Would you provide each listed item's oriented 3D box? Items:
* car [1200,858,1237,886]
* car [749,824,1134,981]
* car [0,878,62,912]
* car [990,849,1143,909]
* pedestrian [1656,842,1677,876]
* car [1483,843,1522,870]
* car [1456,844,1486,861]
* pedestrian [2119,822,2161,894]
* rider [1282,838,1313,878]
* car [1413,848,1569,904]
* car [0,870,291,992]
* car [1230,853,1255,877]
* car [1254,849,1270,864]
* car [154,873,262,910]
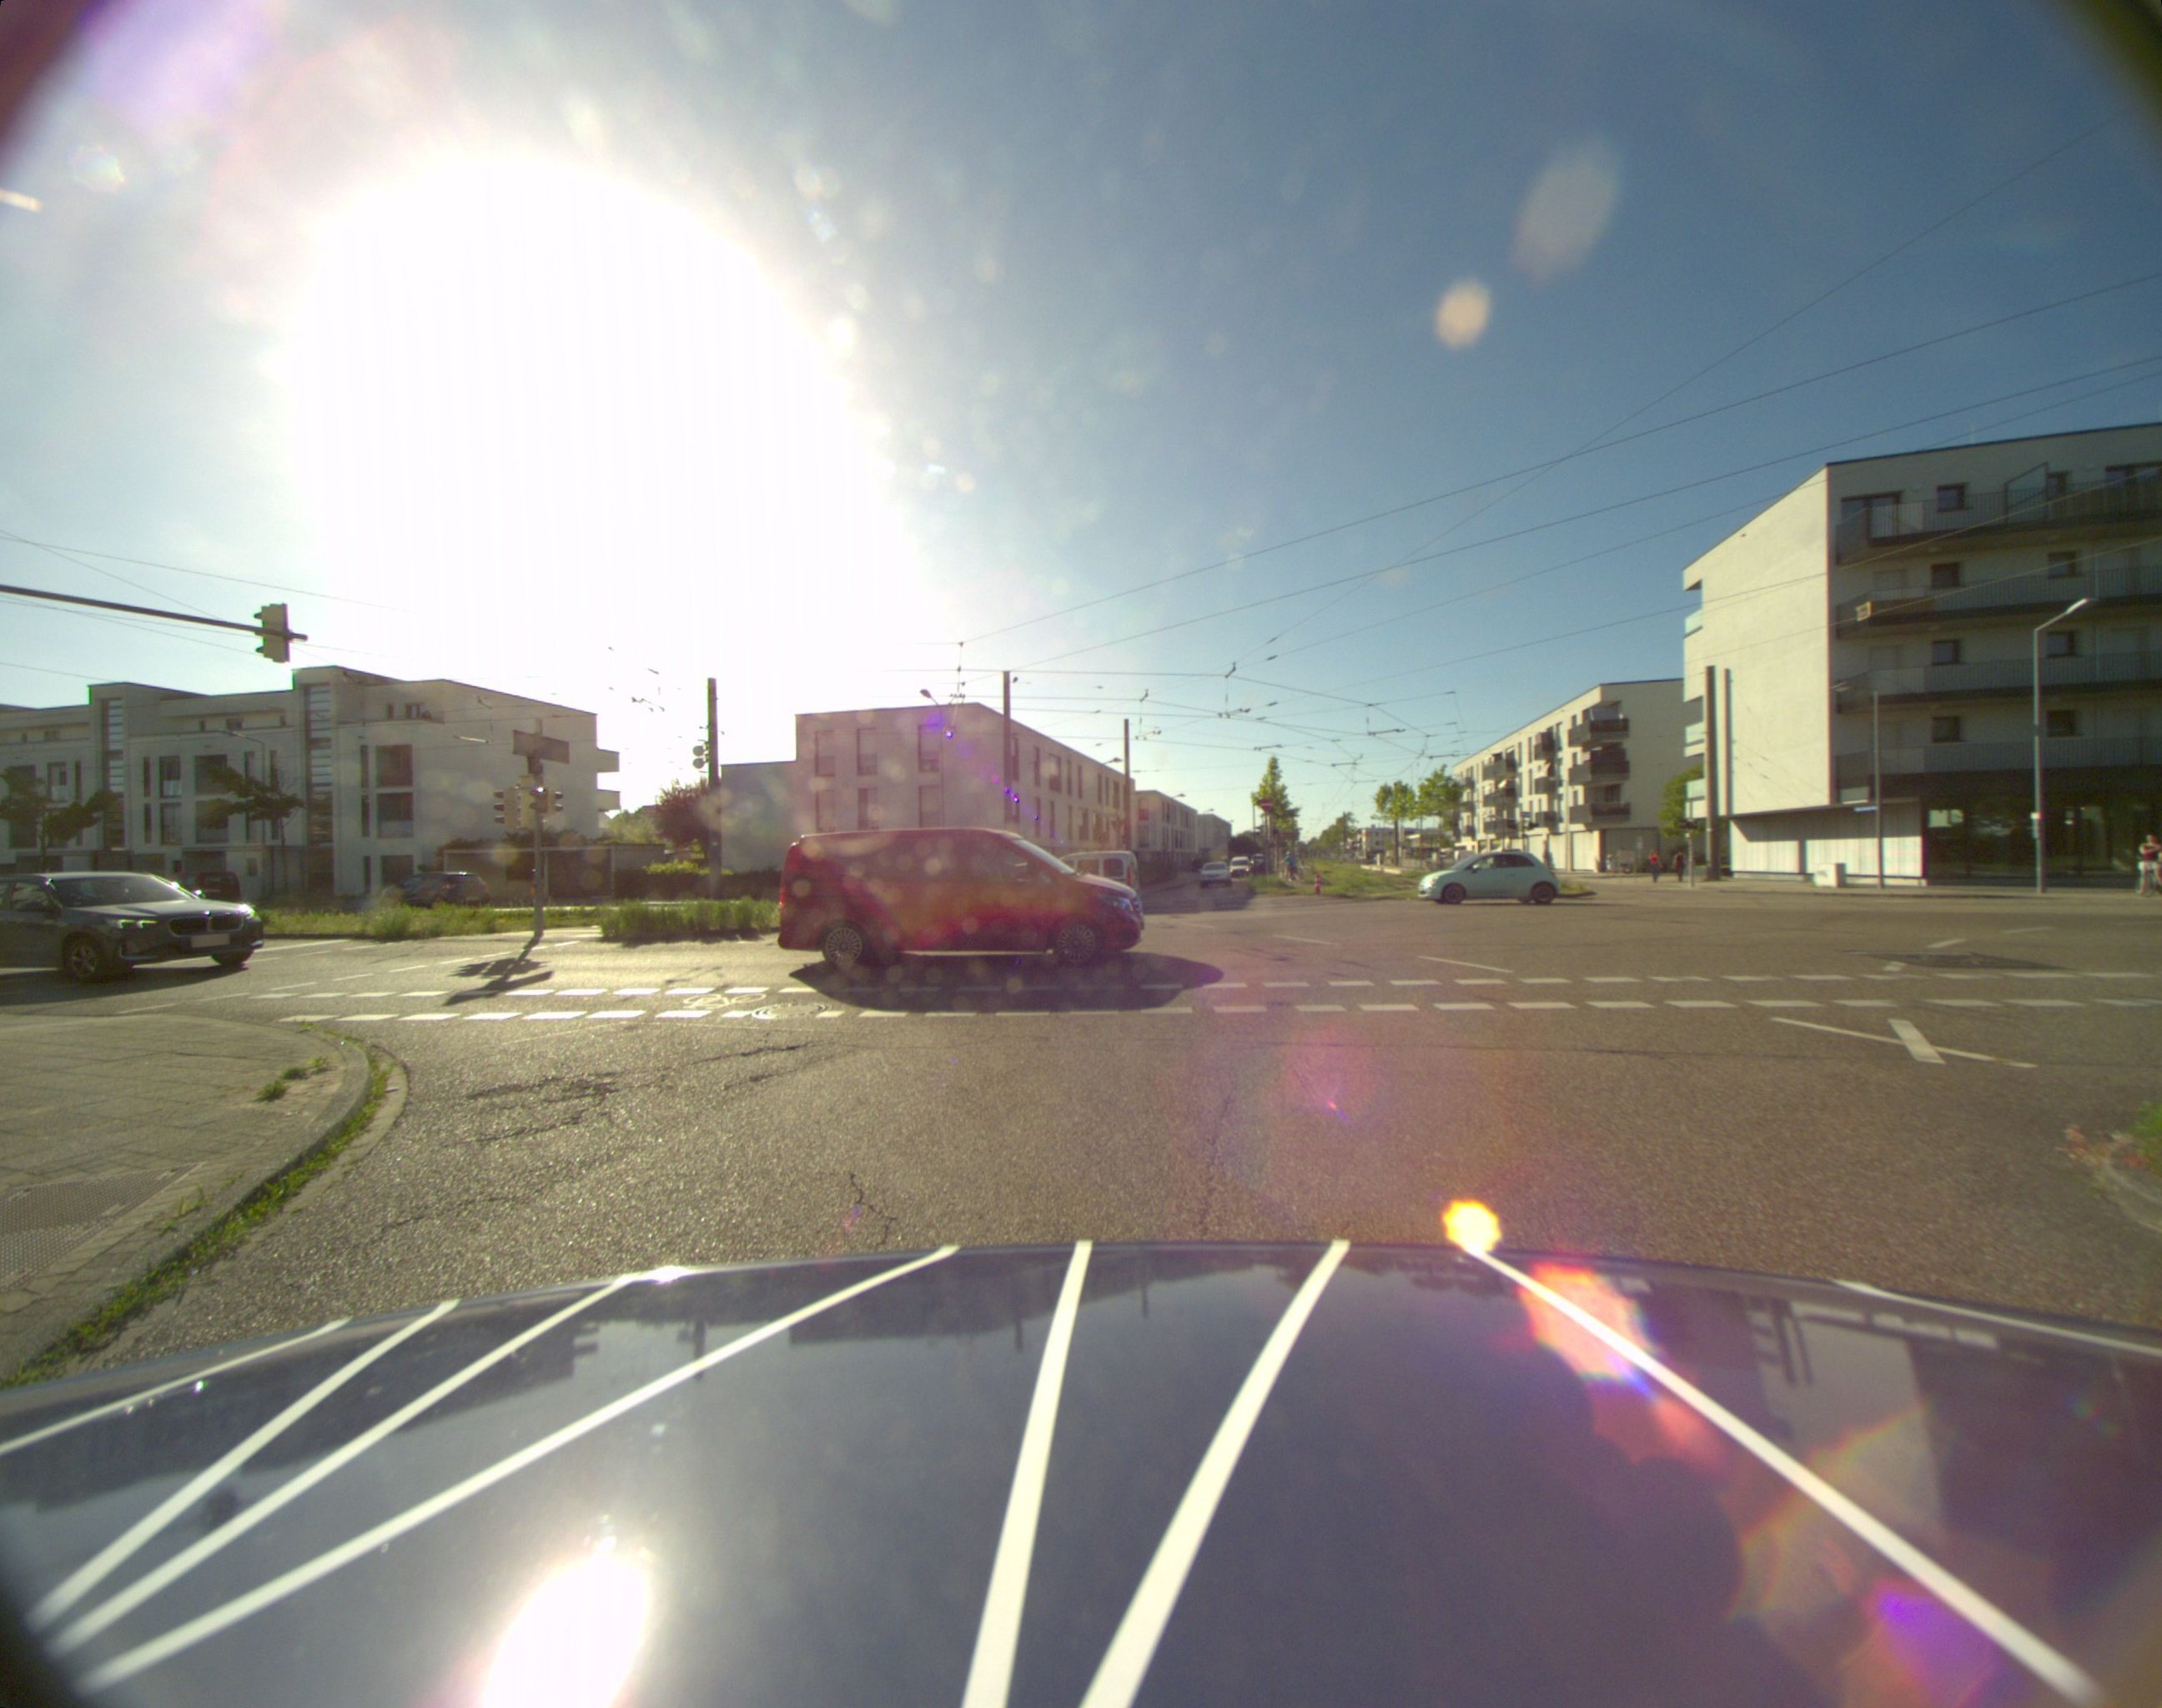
[{"bbox_3d":[8.833,1.129,48.580,2.005,1.655,4.004,-1,0,14],"label":"car"},{"bbox_3d":[-1.818,0.633,11.117,5.078,1.958,2.129,-2,2,5],"label":"car"},{"bbox_3d":[-55.373,2.120,39.177,3.829,1.603,1.938,-1,0,12],"label":"car"},{"bbox_3d":[-0.410,0.759,23.796,4.354,1.745,2.002,-1,0,14],"label":"car"},{"bbox_3d":[29.597,0.264,38.426,0.750,1.677,0.576,0,3,29],"label":"pedestrian"},{"bbox_3d":[34.462,0.165,62.201,1.996,2.002,4.004,-1,2,18],"label":"car"},{"bbox_3d":[39.594,-0.203,77.288,1.996,1.544,4.003,-1,2,16],"label":"car"},{"bbox_3d":[30.571,0.108,21.610,0.759,2.002,0.981,-1,0,12],"label":"pedestrian"},{"bbox_3d":[11.183,0.198,39.303,0.946,2.002,1.191,-3,2,-25],"label":"rider"},{"bbox_3d":[11.635,0.664,21.820,3.537,1.478,2.003,-1,-2,14],"label":"car"},{"bbox_3d":[-15.742,1.154,12.213,4.401,1.663,2.001,-1,2,9],"label":"car"},{"bbox_3d":[14.435,0.960,67.688,1.996,2.002,4.004,-1,0,14],"label":"car"},{"bbox_3d":[26.051,0.338,109.416,1.997,2.002,4.004,-1,0,12],"label":"car"},{"bbox_3d":[-41.932,1.809,36.520,3.901,1.712,1.797,-1,-1,14],"label":"car"}]
